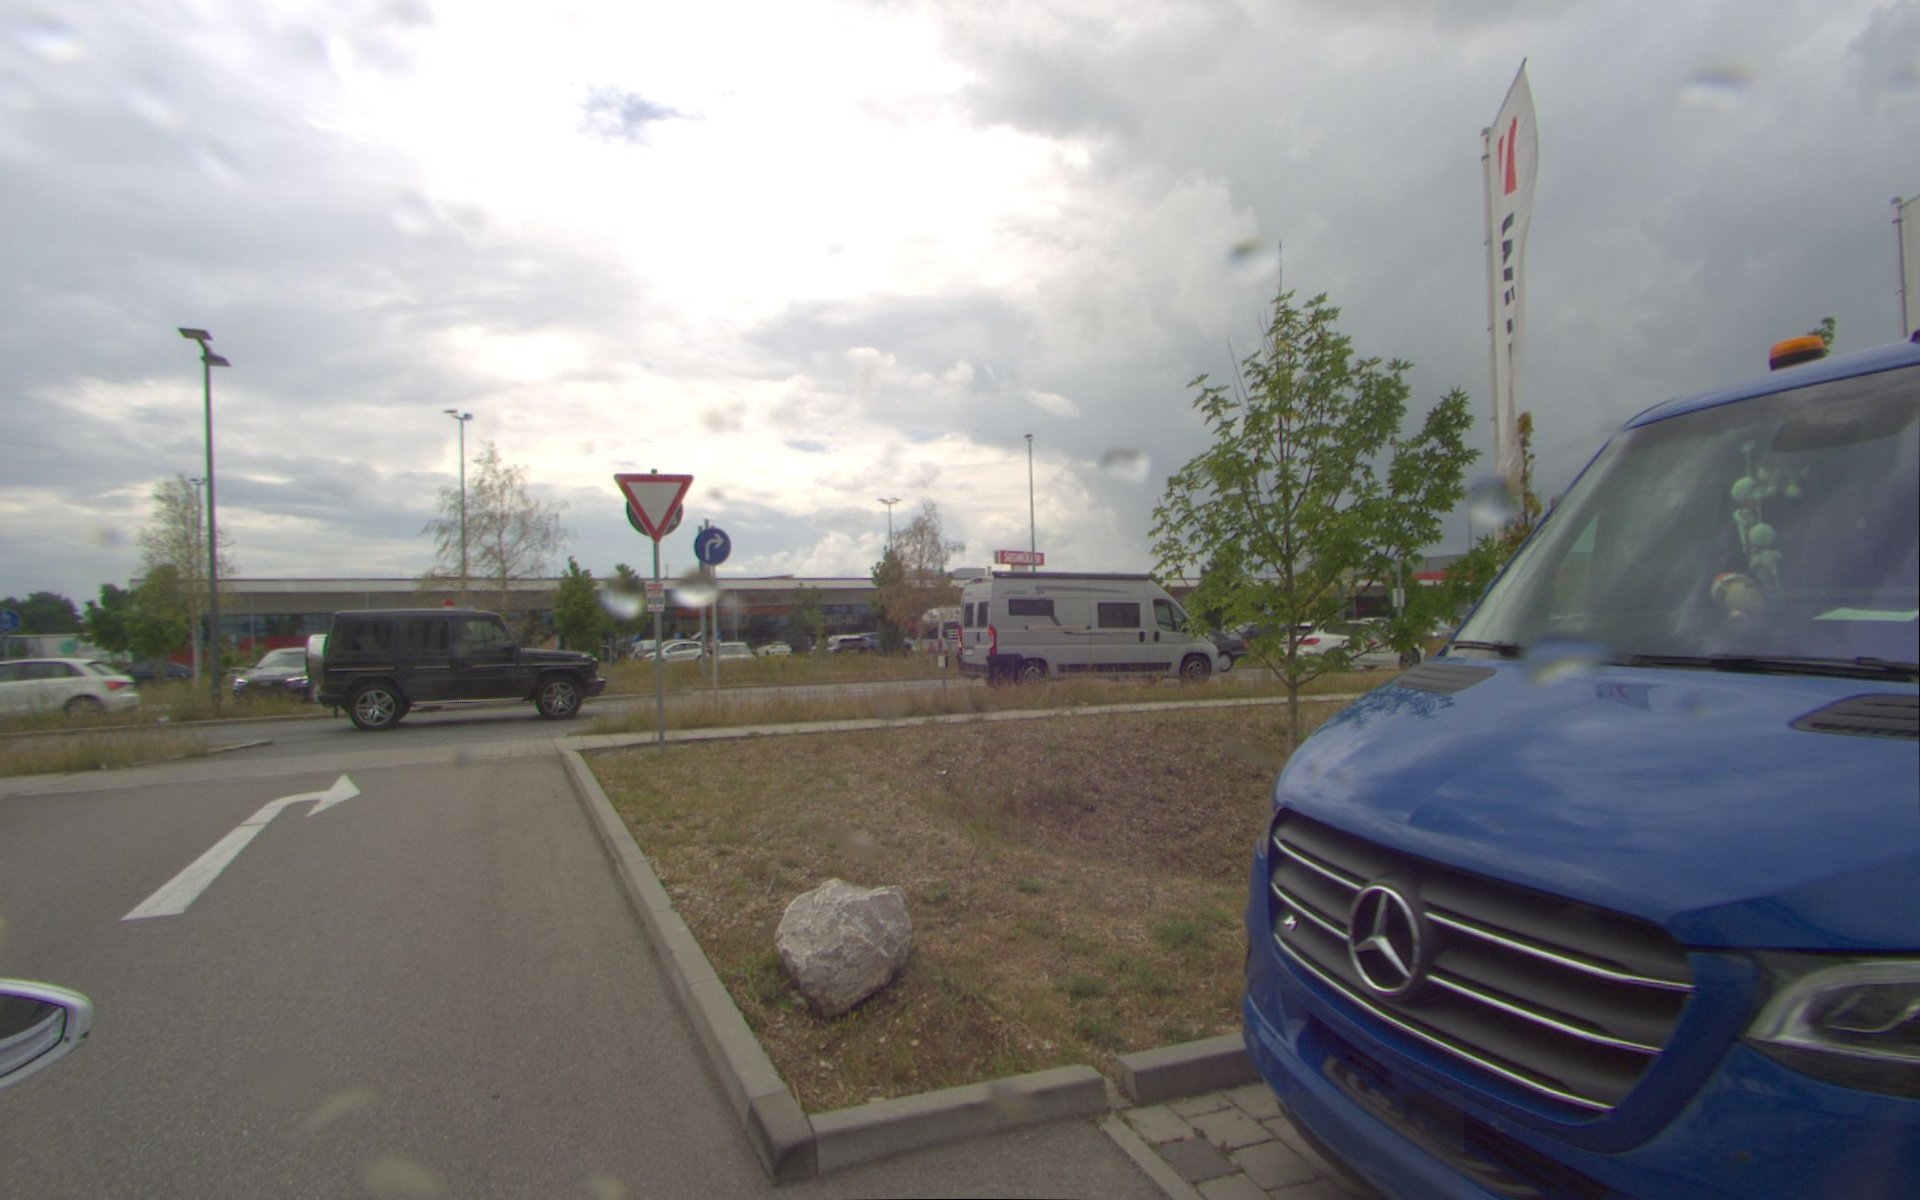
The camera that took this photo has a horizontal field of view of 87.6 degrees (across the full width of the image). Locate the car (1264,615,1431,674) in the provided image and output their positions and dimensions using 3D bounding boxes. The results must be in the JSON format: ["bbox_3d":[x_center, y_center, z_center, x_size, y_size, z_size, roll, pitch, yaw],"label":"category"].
[{"bbox_3d":[11.004,1.237,28.489,4.173,1.469,1.798,-1,-1,-17],"label":"car"}]

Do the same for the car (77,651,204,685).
[{"bbox_3d":[-43.337,3.575,53.099,4.955,1.577,1.990,0,-2,-32],"label":"car"}]

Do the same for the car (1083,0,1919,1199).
[{"bbox_3d":[4.412,0.299,3.141,7.717,2.352,2.198,-1,-1,-17],"label":"car"}]

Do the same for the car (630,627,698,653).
[{"bbox_3d":[-18.090,2.422,61.139,3.702,1.473,1.661,-1,-1,-28],"label":"car"}]

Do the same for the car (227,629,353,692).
[{"bbox_3d":[-17.627,1.539,26.560,1.767,1.485,4.311,-1,-1,-20],"label":"car"}]

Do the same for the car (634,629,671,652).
[{"bbox_3d":[-21.771,2.864,70.806,1.969,1.527,3.986,-1,-2,-25],"label":"car"}]

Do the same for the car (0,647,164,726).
[{"bbox_3d":[-19.009,1.763,20.503,3.997,1.499,1.751,0,-2,-29],"label":"car"}]

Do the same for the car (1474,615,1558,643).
[{"bbox_3d":[30.163,1.595,54.443,1.880,1.408,3.810,-2,-1,-15],"label":"car"}]

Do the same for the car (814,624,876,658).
[{"bbox_3d":[-5.432,1.933,46.951,1.961,1.469,4.142,-1,-2,-20],"label":"car"}]

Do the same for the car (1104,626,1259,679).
[{"bbox_3d":[6.759,1.582,30.627,4.295,1.413,1.789,-1,-2,-18],"label":"car"}]

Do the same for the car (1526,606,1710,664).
[{"bbox_3d":[19.814,1.042,30.200,4.794,1.527,1.809,-1,-1,-13],"label":"car"}]

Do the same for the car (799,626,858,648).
[{"bbox_3d":[-9.804,2.766,74.795,3.938,1.527,1.992,-1,-1,-27],"label":"car"}]

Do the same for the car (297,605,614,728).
[{"bbox_3d":[-8.747,1.084,17.781,4.770,1.948,1.994,0,-1,-24],"label":"car"}]

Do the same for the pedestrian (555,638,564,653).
[{"bbox_3d":[-29.970,3.414,74.948,0.570,1.138,0.559,-1,-1,-31],"label":"pedestrian"}]

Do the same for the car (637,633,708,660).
[{"bbox_3d":[-16.781,2.705,58.511,3.702,1.473,1.661,-1,-1,-28],"label":"car"}]

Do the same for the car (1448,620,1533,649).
[{"bbox_3d":[28.332,1.826,53.627,1.880,1.408,3.810,-2,-1,-15],"label":"car"}]

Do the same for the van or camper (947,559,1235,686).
[{"bbox_3d":[2.941,0.490,22.412,6.061,2.574,2.191,0,-1,-21],"label":"van or camper"}]

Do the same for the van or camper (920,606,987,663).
[{"bbox_3d":[-0.367,1.623,47.459,2.249,2.524,3.996,-1,-1,-14],"label":"van or camper"}]

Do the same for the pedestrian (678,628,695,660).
[{"bbox_3d":[-17.733,2.819,64.892,0.853,2.040,1.001,-1,-1,-23],"label":"pedestrian"}]

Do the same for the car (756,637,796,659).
[{"bbox_3d":[-13.779,3.594,74.909,1.969,1.527,3.986,-1,-1,-25],"label":"car"}]

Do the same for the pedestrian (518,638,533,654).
[{"bbox_3d":[-32.652,3.462,75.226,0.959,1.169,1.128,-1,-1,-29],"label":"pedestrian"}]
